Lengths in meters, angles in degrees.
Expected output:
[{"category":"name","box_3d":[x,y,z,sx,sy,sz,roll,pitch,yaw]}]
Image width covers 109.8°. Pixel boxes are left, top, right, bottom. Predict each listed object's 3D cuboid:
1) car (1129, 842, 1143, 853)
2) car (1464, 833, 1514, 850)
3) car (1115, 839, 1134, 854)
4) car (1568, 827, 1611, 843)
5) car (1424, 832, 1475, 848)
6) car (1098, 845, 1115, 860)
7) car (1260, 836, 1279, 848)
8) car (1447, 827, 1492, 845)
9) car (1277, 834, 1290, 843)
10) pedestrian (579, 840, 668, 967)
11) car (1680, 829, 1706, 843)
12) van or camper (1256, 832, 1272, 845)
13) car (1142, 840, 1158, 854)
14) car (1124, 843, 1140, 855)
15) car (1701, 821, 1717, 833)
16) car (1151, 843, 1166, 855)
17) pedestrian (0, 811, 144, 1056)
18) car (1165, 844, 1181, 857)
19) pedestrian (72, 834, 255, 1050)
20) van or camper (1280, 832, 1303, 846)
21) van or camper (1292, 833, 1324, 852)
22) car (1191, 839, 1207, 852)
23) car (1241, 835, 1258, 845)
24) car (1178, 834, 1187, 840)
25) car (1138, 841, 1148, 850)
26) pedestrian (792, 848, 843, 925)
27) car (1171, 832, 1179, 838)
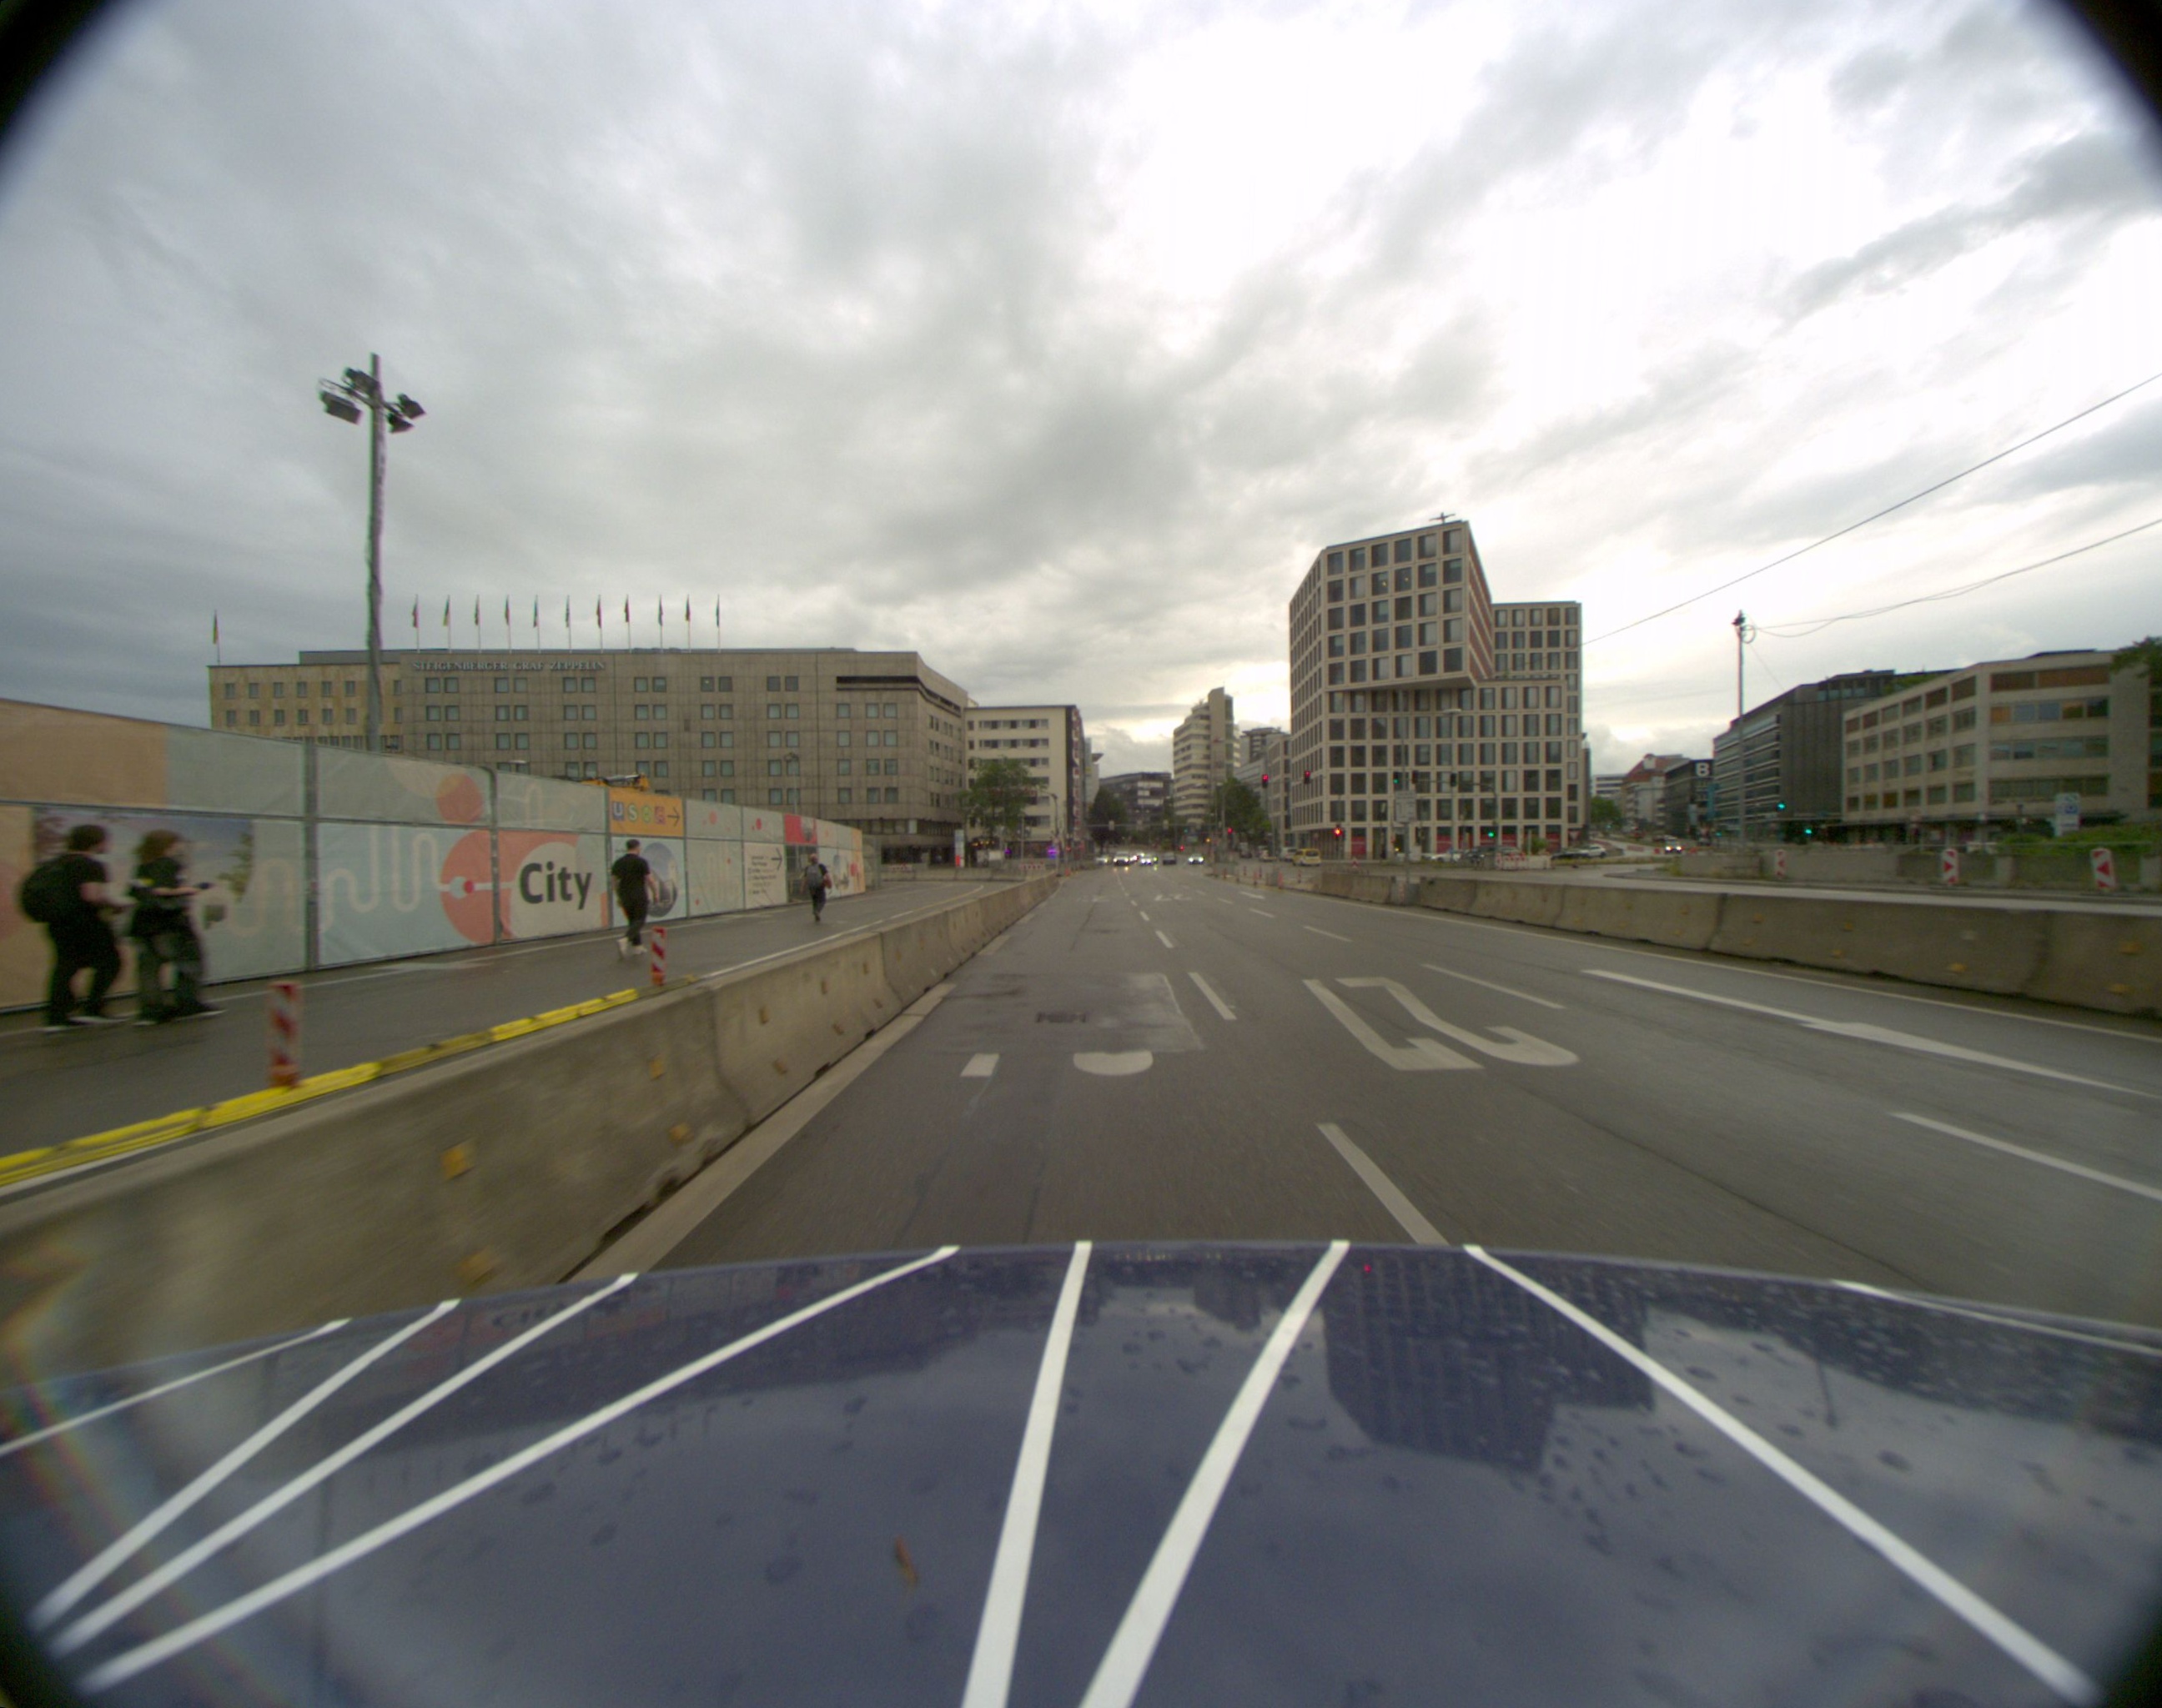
[{"category":"car","box_3d":[8.556,-1.085,117.339,2.016,1.589,4.665,-2,1,6]},{"category":"car","box_3d":[40.106,-1.210,74.738,3.999,1.477,1.835,-2,1,-7]},{"category":"car","box_3d":[5.905,-1.068,103.225,2.084,1.893,5.087,-2,1,9]},{"category":"car","box_3d":[58.138,-2.183,86.820,4.134,1.706,1.855,-1,0,-17]},{"category":"car","box_3d":[42.579,-1.619,87.895,4.808,1.743,2.229,-2,1,1]},{"category":"car","box_3d":[3.650,-0.248,109.045,1.921,2.002,4.002,-1,1,10]},{"category":"car","box_3d":[26.618,-1.707,107.432,1.846,1.664,4.381,-2,1,4]},{"category":"car","box_3d":[43.015,-1.993,84.117,3.996,1.805,1.806,-2,1,4]},{"category":"car","box_3d":[35.187,-2.609,131.916,1.864,1.514,4.003,-1,1,11]},{"category":"pedestrian","box_3d":[-7.019,0.737,11.693,0.798,1.867,0.820,-1,1,2]},{"category":"car","box_3d":[78.084,-2.275,96.942,4.139,1.706,1.852,-1,0,-40]},{"category":"van or camper","box_3d":[31.294,-2.638,130.047,1.850,1.967,4.255,-2,1,0]},{"category":"car","box_3d":[9.205,-0.996,101.426,2.016,1.728,4.665,-2,1,6]},{"category":"car","box_3d":[7.446,-0.736,110.187,2.016,1.589,4.665,-2,1,6]},{"category":"car","box_3d":[114.661,-4.912,138.807,1.994,2.002,4.008,-1,1,37]},{"category":"car","box_3d":[10.927,-0.677,107.319,2.016,1.589,4.665,-2,1,6]},{"category":"pedestrian","box_3d":[-8.884,0.660,6.572,0.681,2.001,0.687,-1,0,2]},{"category":"car","box_3d":[12.307,-0.461,101.983,2.016,1.589,4.665,-2,1,6]},{"category":"pedestrian","box_3d":[-8.112,0.748,6.747,0.798,1.823,0.626,-1,1,2]},{"category":"van or camper","box_3d":[29.686,-2.059,107.238,1.886,1.883,5.212,-2,1,1]},{"category":"van or camper","box_3d":[25.366,-1.283,85.162,2.244,2.042,5.608,-2,1,4]},{"category":"car","box_3d":[15.772,-1.125,101.475,2.015,1.589,4.666,-2,1,11]},{"category":"car","box_3d":[28.179,-2.280,127.032,1.850,1.589,4.180,-2,1,0]},{"category":"car","box_3d":[27.362,-4.657,205.065,1.850,1.589,4.180,-2,1,0]},{"category":"car","box_3d":[10.671,-1.447,130.387,1.670,1.475,3.486,-2,1,5]},{"category":"pedestrian","box_3d":[-6.401,0.778,18.502,0.927,1.823,0.686,-1,1,2]},{"category":"car","box_3d":[26.437,-5.418,213.264,1.850,1.589,4.180,-2,1,0]}]
